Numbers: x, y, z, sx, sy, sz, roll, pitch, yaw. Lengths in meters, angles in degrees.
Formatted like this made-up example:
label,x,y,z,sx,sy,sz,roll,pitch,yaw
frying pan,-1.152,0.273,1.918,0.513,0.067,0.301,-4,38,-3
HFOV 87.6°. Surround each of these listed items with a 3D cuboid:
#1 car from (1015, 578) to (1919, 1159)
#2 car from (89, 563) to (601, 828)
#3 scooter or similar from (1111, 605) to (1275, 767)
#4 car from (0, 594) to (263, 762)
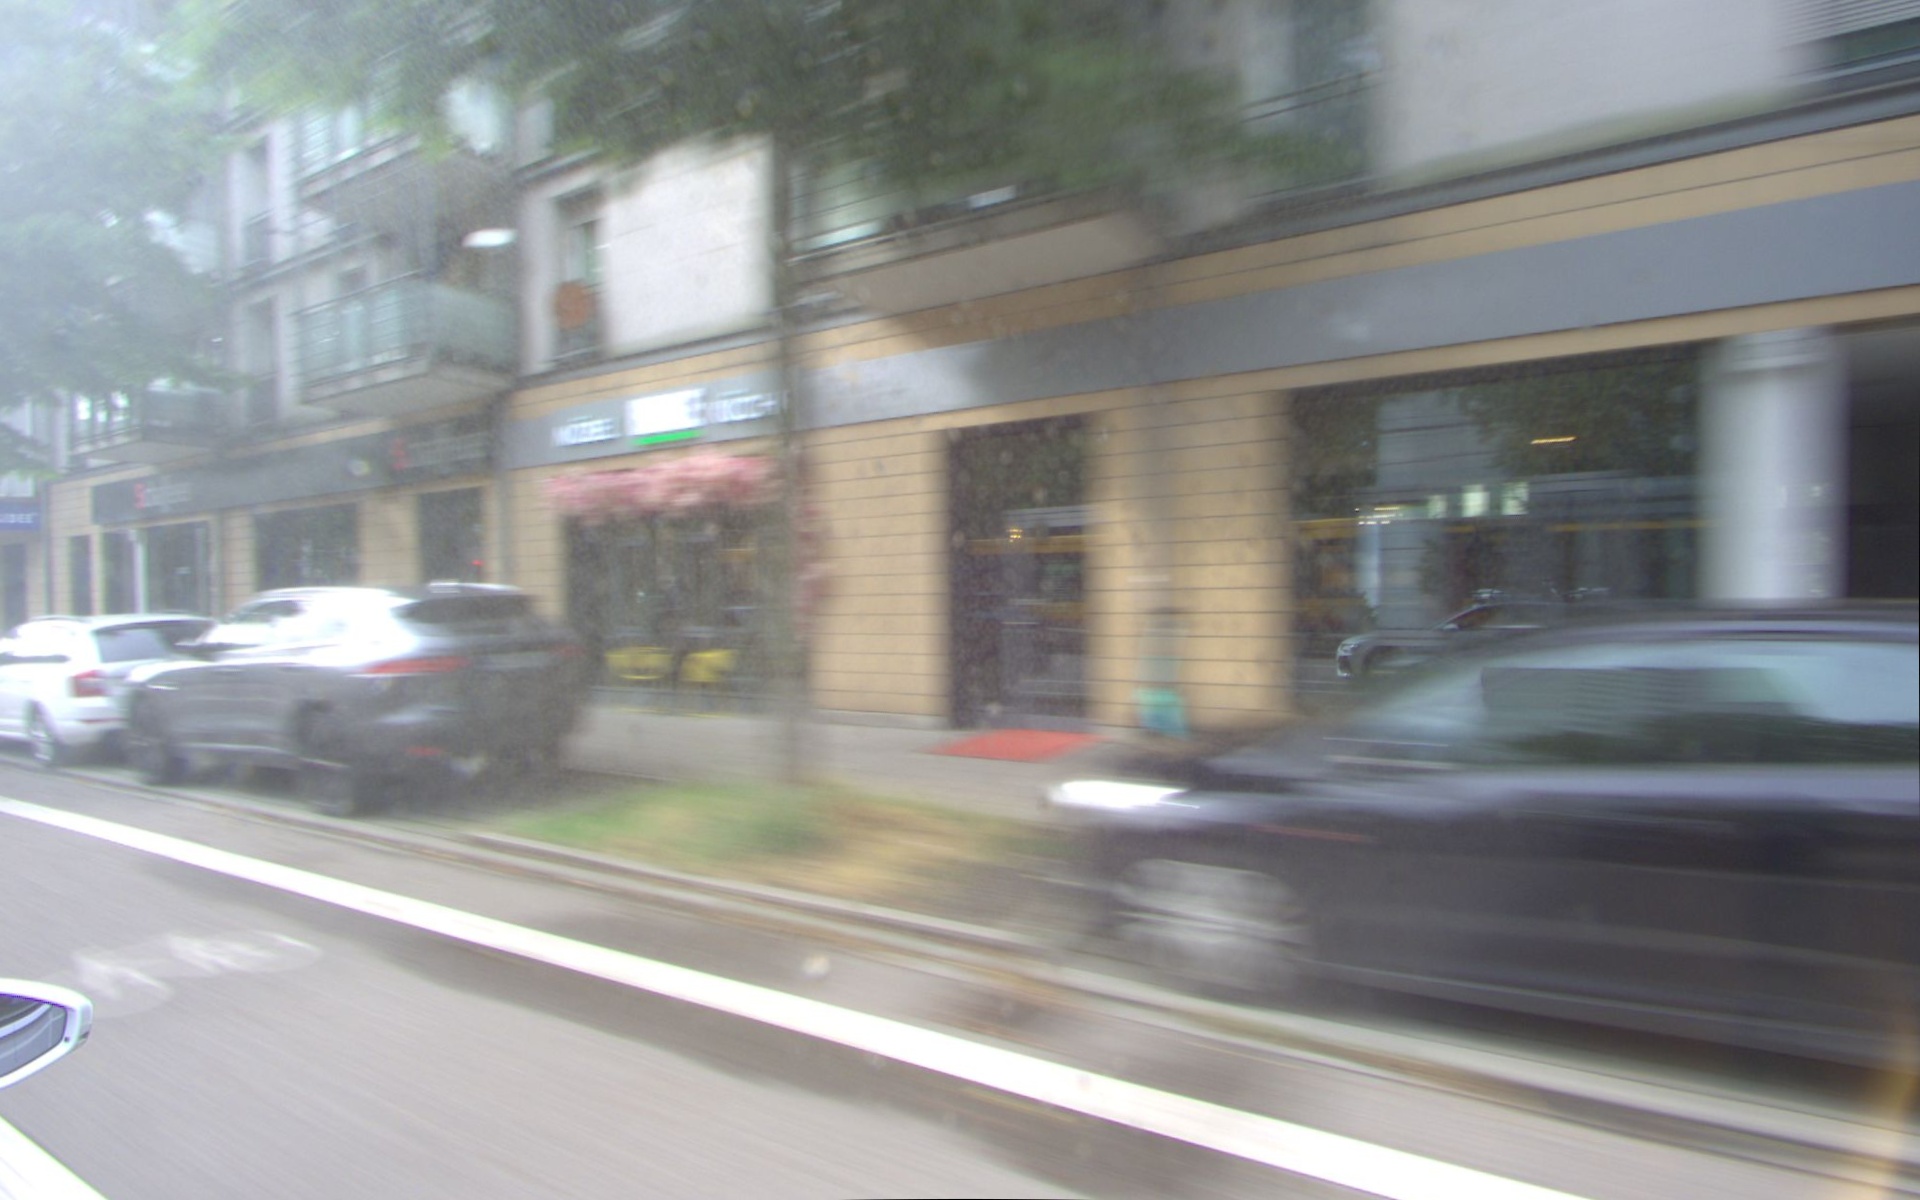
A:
label,x,y,z,sx,sy,sz,roll,pitch,yaw
car,2.501,0.691,3.555,4.346,1.462,1.671,-1,3,34
car,-5.366,0.634,8.562,4.642,1.741,1.708,-1,3,31
scooter or similar,1.903,0.668,8.208,1.197,1.217,0.515,0,3,32
car,-9.846,0.751,11.343,4.328,1.519,1.671,-1,3,34
